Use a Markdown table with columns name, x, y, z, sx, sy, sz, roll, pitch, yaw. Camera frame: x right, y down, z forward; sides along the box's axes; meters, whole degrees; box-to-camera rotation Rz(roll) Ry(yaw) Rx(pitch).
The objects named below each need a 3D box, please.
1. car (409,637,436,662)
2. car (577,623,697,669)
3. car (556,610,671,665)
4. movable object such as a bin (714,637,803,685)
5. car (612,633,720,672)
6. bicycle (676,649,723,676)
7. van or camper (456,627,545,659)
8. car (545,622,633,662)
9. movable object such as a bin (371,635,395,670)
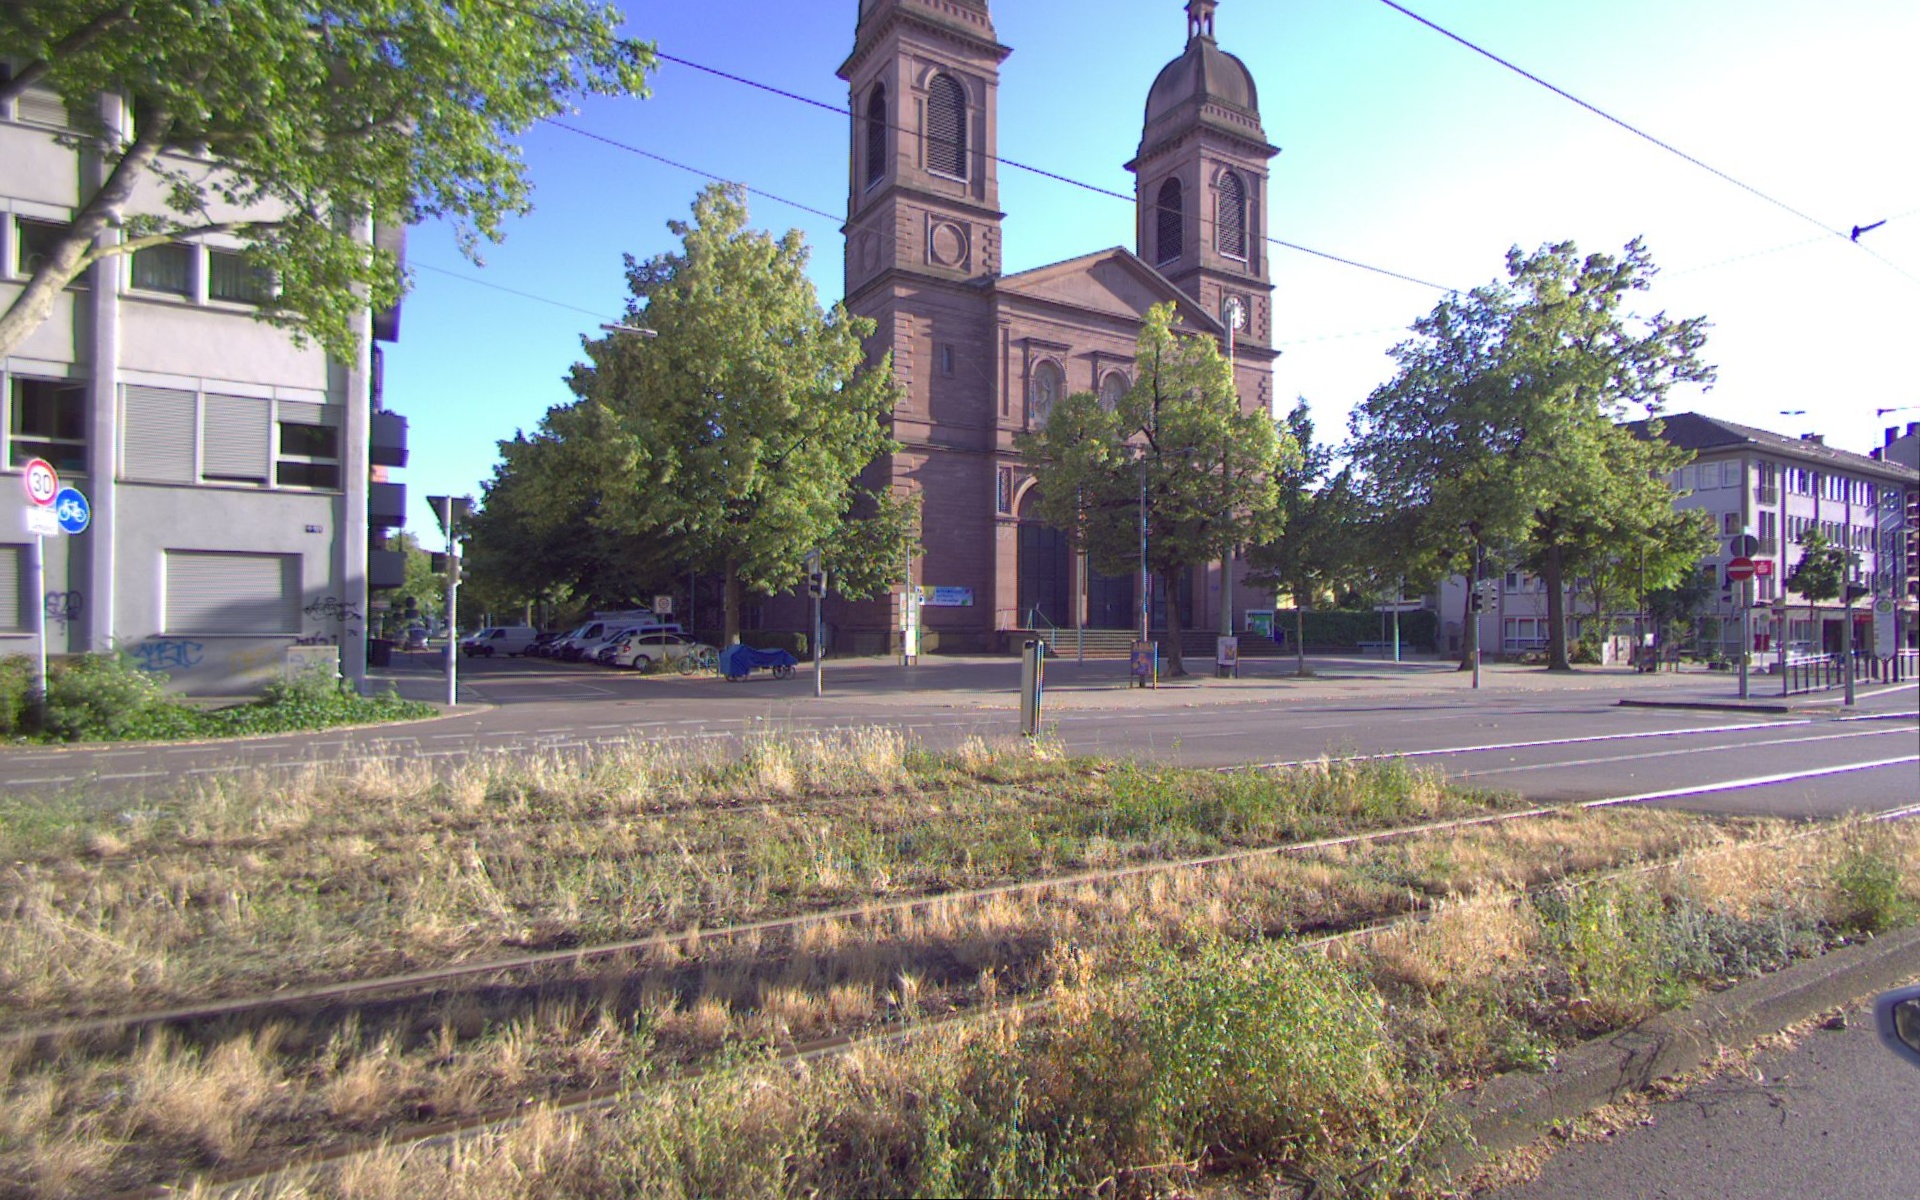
| name | x | y | z | sx | sy | sz | roll | pitch | yaw |
| --- | --- | --- | --- | --- | --- | --- | --- | --- | --- |
| car | -45.765 | 4.205 | 85.477 | 1.976 | 2.040 | 3.970 | 1 | -2 | -29 |
| car | -15.517 | 2.179 | 48.323 | 5.121 | 2.040 | 1.981 | 2 | 0 | -34 |
| car | -18.289 | 1.964 | 53.117 | 5.382 | 2.710 | 1.980 | 2 | 0 | -36 |
| movable object such as a bin | -6.147 | 1.833 | 30.719 | 2.416 | 1.228 | 1.102 | -3 | 2 | -30 |
| car | -12.221 | 2.180 | 41.829 | 3.953 | 1.479 | 1.984 | 2 | 0 | -30 |
| bicycle | -9.056 | 2.165 | 34.970 | 1.517 | 0.904 | 0.465 | 2 | 0 | -27 |
| van or camper | -29.940 | 2.780 | 65.593 | 1.963 | 2.040 | 5.128 | 0 | -2 | 28 |
| car | -20.418 | 2.307 | 55.274 | 4.174 | 2.040 | 1.981 | 2 | 0 | -34 |
| movable object such as a bin | -22.297 | 2.032 | 38.814 | 0.737 | 1.323 | 0.865 | 1 | -2 | -32 |
